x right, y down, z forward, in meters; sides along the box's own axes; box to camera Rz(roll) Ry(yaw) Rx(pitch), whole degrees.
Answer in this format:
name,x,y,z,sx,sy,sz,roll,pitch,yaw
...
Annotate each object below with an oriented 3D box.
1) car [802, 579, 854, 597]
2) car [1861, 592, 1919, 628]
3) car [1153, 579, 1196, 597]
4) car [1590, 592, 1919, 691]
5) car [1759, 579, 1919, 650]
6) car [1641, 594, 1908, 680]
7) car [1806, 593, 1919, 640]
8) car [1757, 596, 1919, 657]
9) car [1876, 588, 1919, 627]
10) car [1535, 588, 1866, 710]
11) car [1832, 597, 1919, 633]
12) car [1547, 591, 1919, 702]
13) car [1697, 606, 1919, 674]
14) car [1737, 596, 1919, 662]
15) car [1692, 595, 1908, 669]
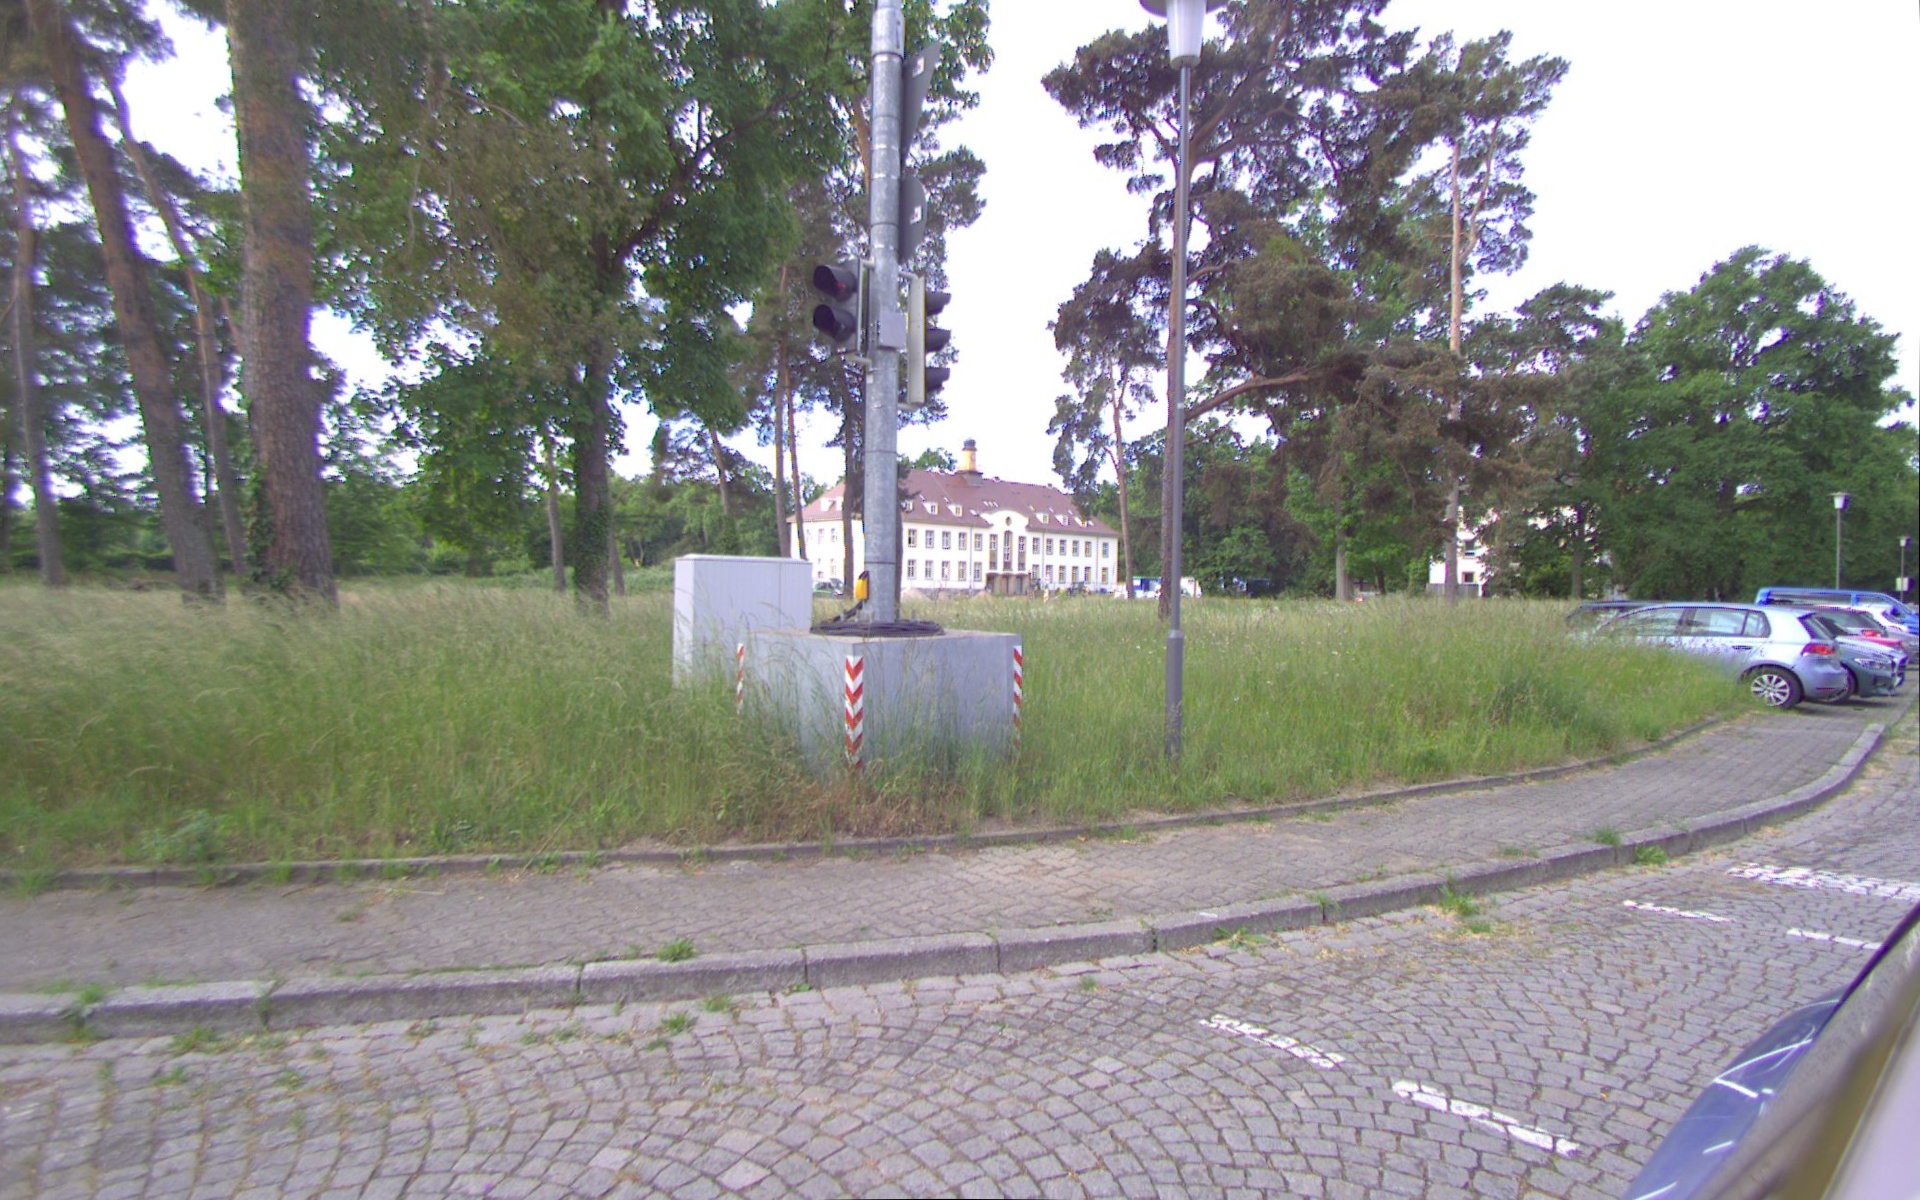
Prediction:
name,x,y,z,sx,sy,sz,roll,pitch,yaw
car,-15.115,-1.421,115.863,6.164,1.882,2.307,2,1,38
car,48.647,0.515,51.450,1.966,1.784,4.004,0,1,-42
car,24.722,-1.375,116.654,5.132,2.039,2.152,0,1,-41
car,14.685,0.662,18.815,1.782,1.501,4.763,0,1,-43
car,27.836,0.416,31.204,1.967,1.963,4.743,0,2,-43
car,16.282,0.658,20.364,1.769,1.470,3.967,0,1,-43
car,34.042,0.592,37.438,1.966,1.630,3.992,0,1,-43
car,23.976,0.663,27.519,1.609,1.470,3.405,0,1,-42
car,51.933,0.418,54.265,1.966,2.039,3.993,0,1,-42
car,10.817,0.621,14.951,3.764,1.444,1.580,3,2,43
car,41.216,0.655,44.641,1.966,1.549,3.991,0,0,-43
car,12.674,0.655,16.840,4.758,1.501,1.734,2,1,44
car,18.114,0.794,21.638,1.469,1.222,3.596,1,1,-42
car,22.128,0.672,25.426,1.788,1.474,3.847,0,1,-40
car,19.721,0.688,23.849,1.770,1.524,3.779,0,1,-45
